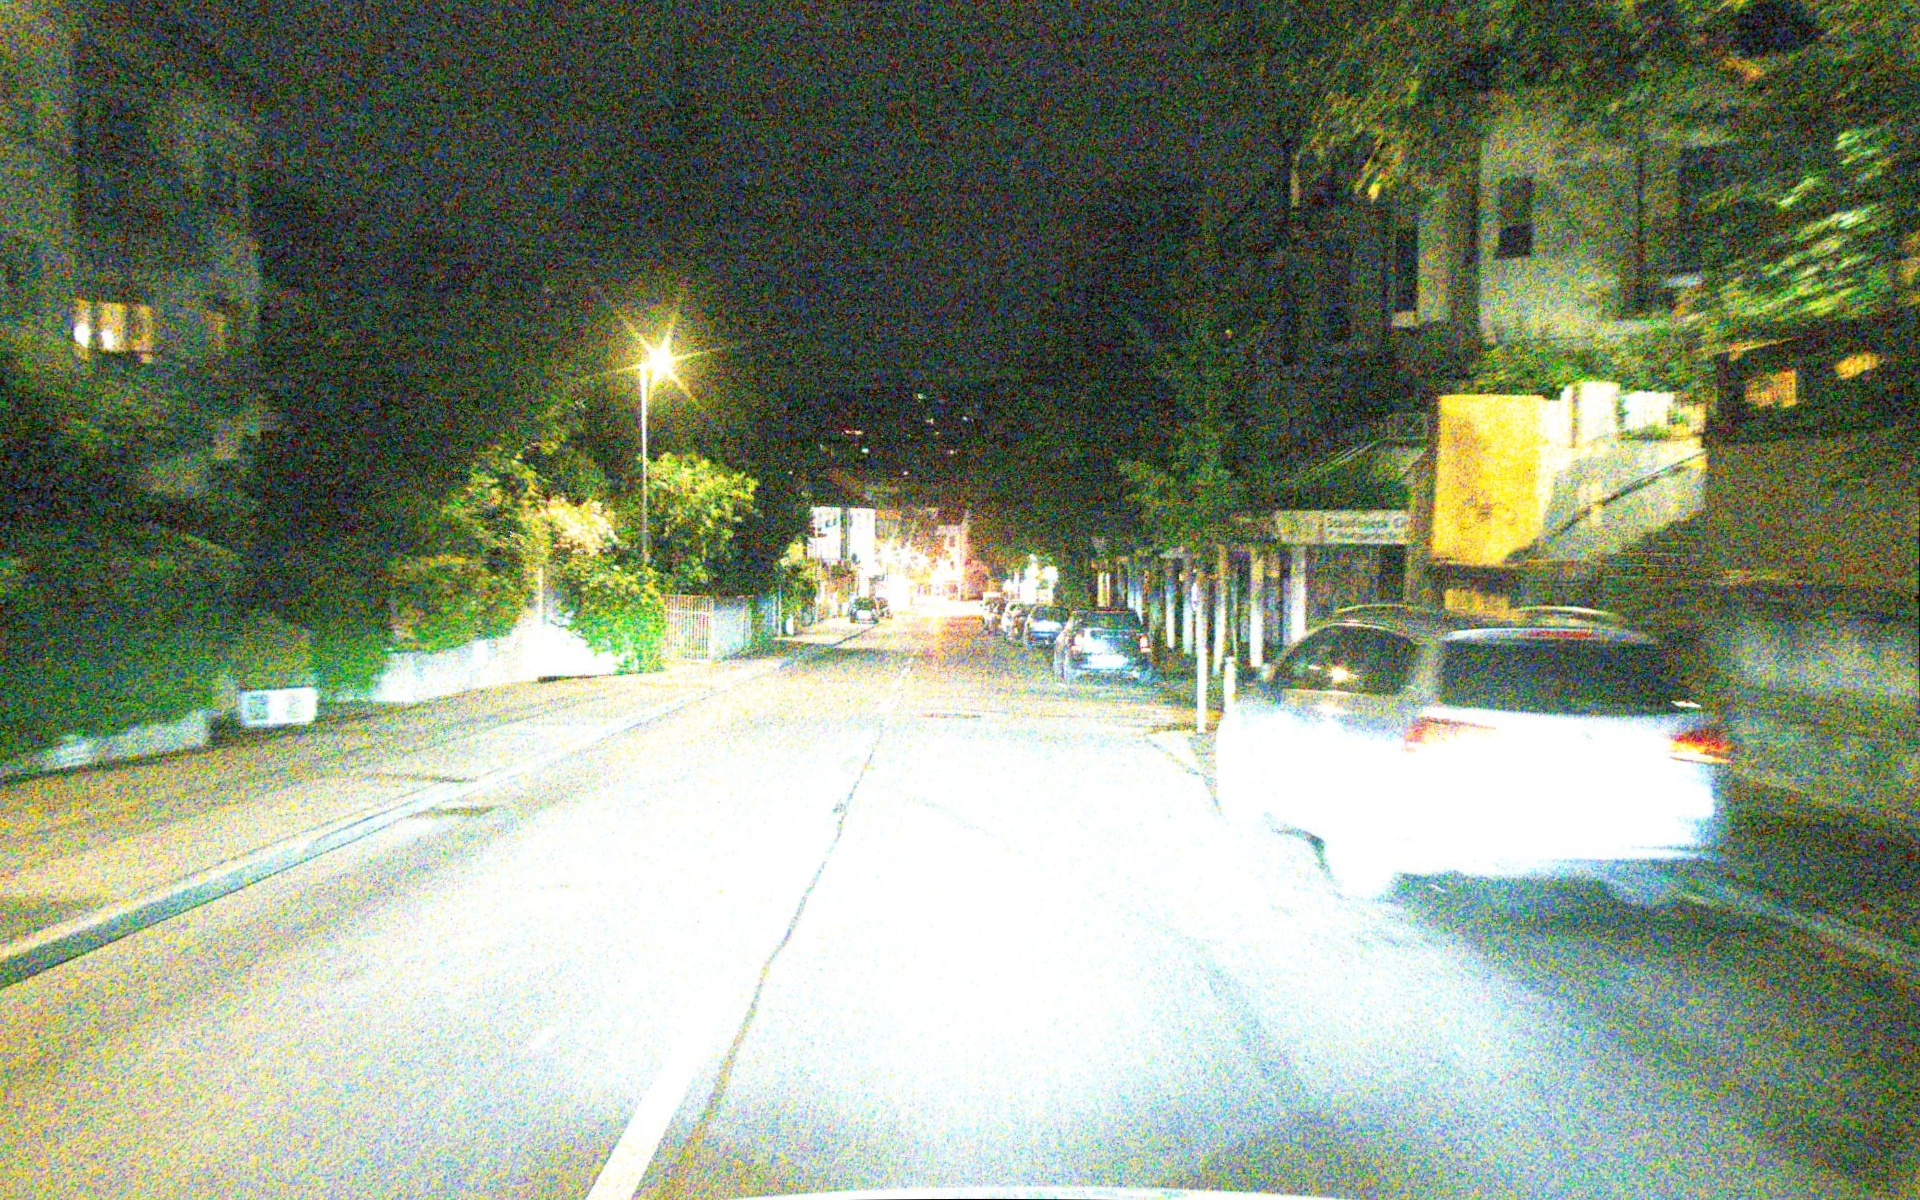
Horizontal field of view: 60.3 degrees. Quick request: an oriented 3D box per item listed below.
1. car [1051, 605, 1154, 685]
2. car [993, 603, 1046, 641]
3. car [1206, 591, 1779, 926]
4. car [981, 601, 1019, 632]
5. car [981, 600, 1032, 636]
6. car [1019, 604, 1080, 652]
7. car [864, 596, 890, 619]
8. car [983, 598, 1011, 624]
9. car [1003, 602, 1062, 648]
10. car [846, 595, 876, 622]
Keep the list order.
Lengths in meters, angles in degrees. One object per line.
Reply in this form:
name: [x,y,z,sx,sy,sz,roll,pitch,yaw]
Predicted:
car: [2.781,0.850,32.950,1.597,1.464,3.863,1,0,-2]
car: [2.413,0.879,67.875,1.650,1.474,3.995,2,0,-6]
car: [2.803,0.735,9.818,1.728,1.501,4.272,2,0,-4]
car: [2.004,0.794,83.690,1.648,1.474,3.998,2,0,-2]
car: [2.015,0.763,72.513,1.650,1.474,3.994,2,0,-7]
car: [2.838,0.858,52.426,1.829,1.427,4.002,2,0,3]
car: [-5.803,0.523,116.315,1.718,1.566,3.729,0,0,-2]
car: [2.310,0.665,104.103,1.648,1.566,4.000,0,0,0]
car: [2.477,0.849,57.269,1.649,1.474,3.998,2,0,-3]
car: [-5.958,0.501,99.190,1.718,1.566,3.728,0,0,-4]
